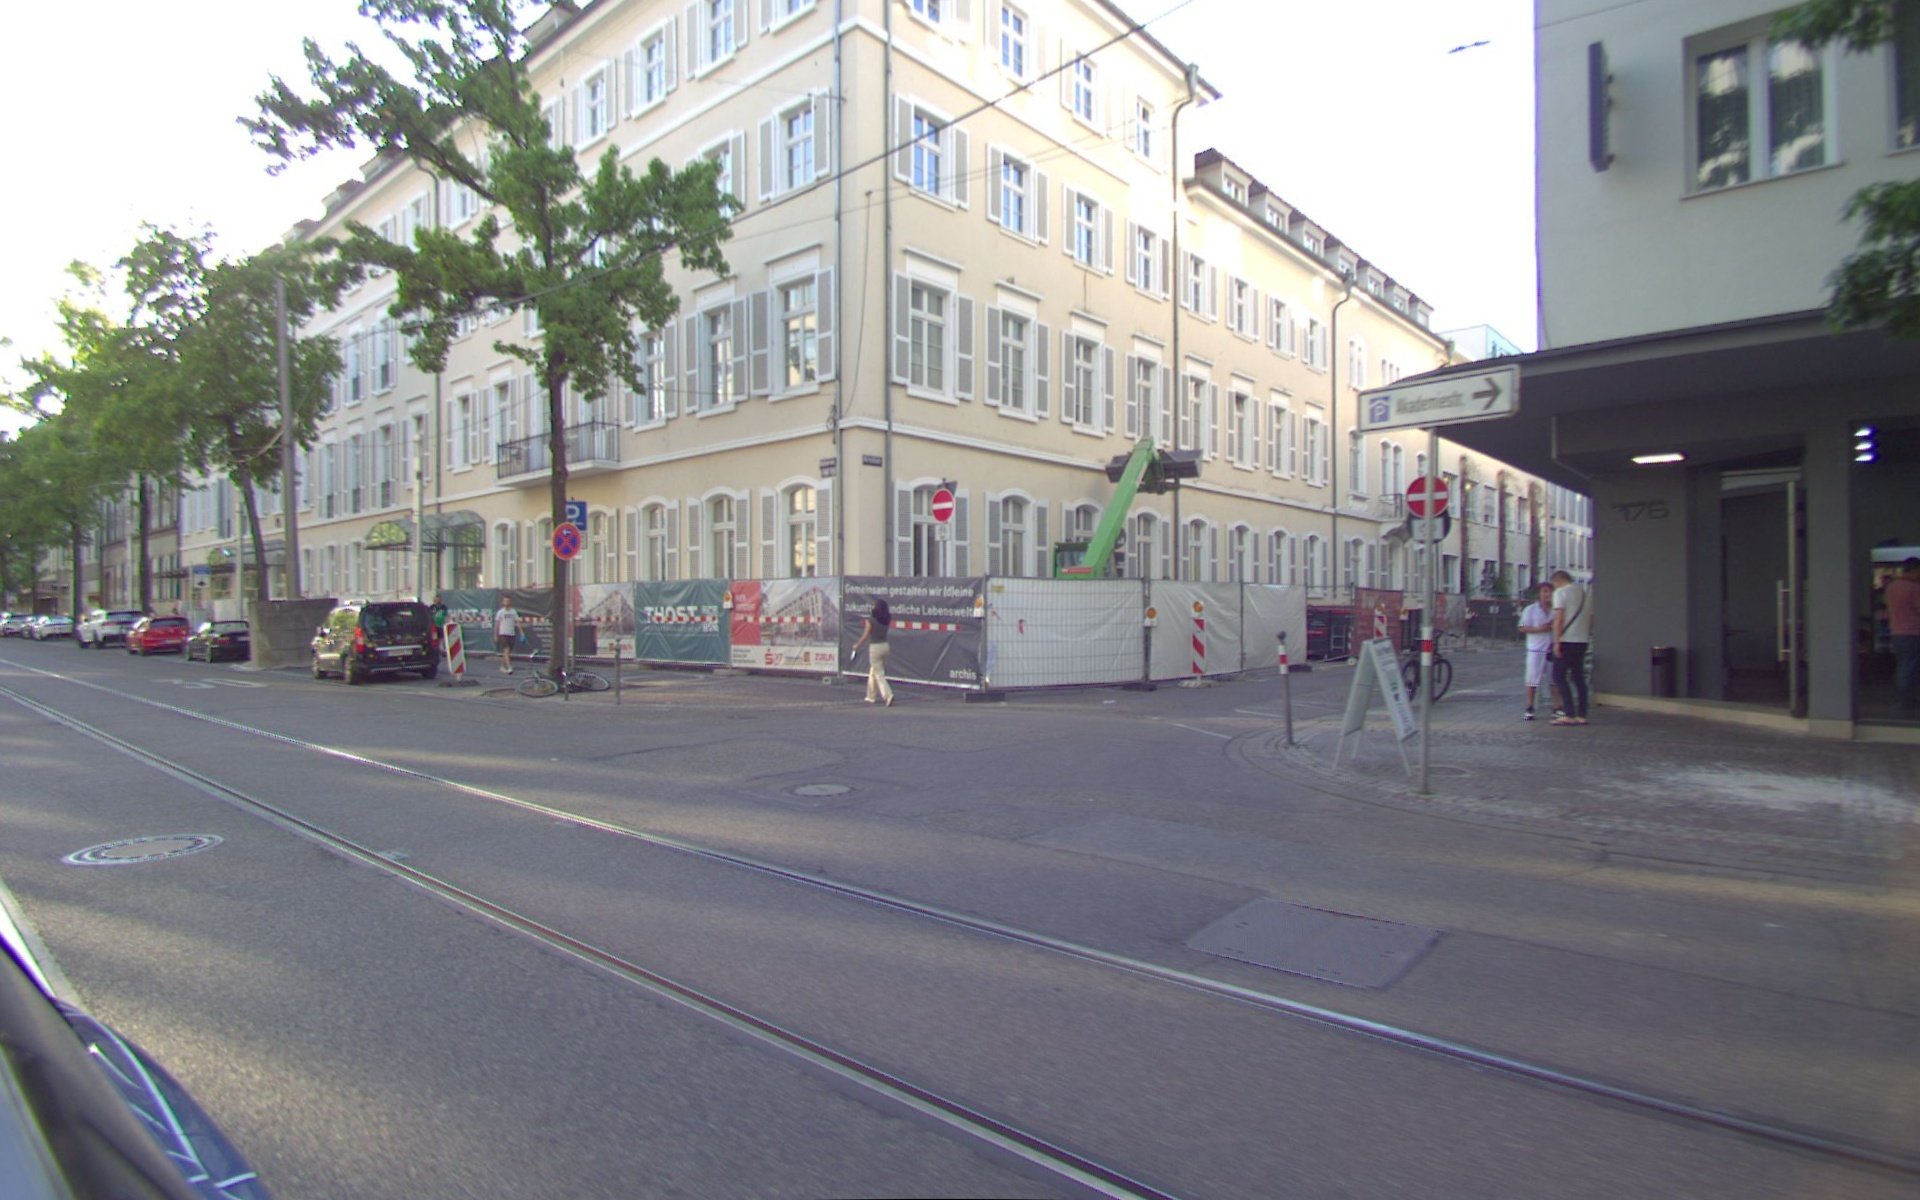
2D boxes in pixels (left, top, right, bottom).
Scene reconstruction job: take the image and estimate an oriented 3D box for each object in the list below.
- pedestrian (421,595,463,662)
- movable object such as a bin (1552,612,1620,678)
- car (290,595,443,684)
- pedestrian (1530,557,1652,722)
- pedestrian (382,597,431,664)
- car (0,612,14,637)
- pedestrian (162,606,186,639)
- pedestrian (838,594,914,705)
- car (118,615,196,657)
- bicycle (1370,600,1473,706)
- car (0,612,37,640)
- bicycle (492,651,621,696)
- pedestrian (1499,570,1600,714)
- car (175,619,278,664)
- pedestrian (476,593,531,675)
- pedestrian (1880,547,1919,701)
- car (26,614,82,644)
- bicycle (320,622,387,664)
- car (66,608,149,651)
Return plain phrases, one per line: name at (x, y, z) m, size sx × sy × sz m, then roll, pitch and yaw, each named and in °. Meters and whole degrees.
pedestrian at (-14.686, 0.790, 28.707) m, size 0.876 × 1.826 × 0.712 m, roll -1°, pitch 2°, yaw 41°
movable object such as a bin at (11.311, 0.803, 18.273) m, size 0.856 × 1.123 × 1.103 m, roll -3°, pitch -2°, yaw 40°
car at (-13.807, 0.857, 23.418) m, size 4.559 × 1.846 × 1.837 m, roll -1°, pitch 0°, yaw 43°
pedestrian at (7.056, 0.424, 11.335) m, size 0.851 × 1.754 × 0.800 m, roll -1°, pitch -1°, yaw -29°
pedestrian at (-15.395, 0.839, 28.155) m, size 0.884 × 1.795 × 0.856 m, roll -1°, pitch 2°, yaw 41°
car at (-76.633, 1.926, 80.222) m, size 4.763 × 1.972 × 1.906 m, roll -1°, pitch -2°, yaw 41°
pedestrian at (-39.059, 1.098, 50.306) m, size 0.933 × 1.592 × 0.736 m, roll -1°, pitch 2°, yaw 42°
pedestrian at (-1.313, 0.761, 15.780) m, size 0.967 × 1.669 × 0.699 m, roll -2°, pitch -2°, yaw 43°
car at (-30.509, 1.313, 38.418) m, size 4.140 × 1.416 × 1.642 m, roll -1°, pitch 2°, yaw 43°
bicycle at (6.536, 0.723, 14.290) m, size 0.712 × 1.391 × 1.854 m, roll -5°, pitch -3°, yaw 43°
car at (-65.669, 1.790, 70.170) m, size 4.763 × 1.754 × 1.927 m, roll -1°, pitch 2°, yaw 41°
bicycle at (-7.175, 1.290, 18.020) m, size 1.283 × 0.613 × 1.775 m, roll -1°, pitch 1°, yaw 45°
pedestrian at (6.941, 0.491, 11.958) m, size 0.861 × 1.627 × 0.791 m, roll -3°, pitch -1°, yaw 25°
car at (-23.711, 1.281, 32.644) m, size 4.506 × 1.254 × 1.700 m, roll -1°, pitch 2°, yaw 41°
pedestrian at (-10.450, 0.766, 23.182) m, size 0.984 × 1.805 × 0.766 m, roll -1°, pitch 2°, yaw 43°
pedestrian at (10.279, 0.250, 10.740) m, size 0.398 × 1.616 × 0.623 m, roll -1°, pitch -1°, yaw -15°
car at (-51.238, 1.616, 57.214) m, size 4.615 × 1.477 × 1.872 m, roll -1°, pitch 2°, yaw 42°
bicycle at (-17.576, 1.233, 29.301) m, size 2.039 × 1.130 × 0.753 m, roll -1°, pitch 2°, yaw 31°
car at (-37.739, 1.282, 44.761) m, size 4.945 × 1.701 × 1.848 m, roll -1°, pitch 2°, yaw 39°
